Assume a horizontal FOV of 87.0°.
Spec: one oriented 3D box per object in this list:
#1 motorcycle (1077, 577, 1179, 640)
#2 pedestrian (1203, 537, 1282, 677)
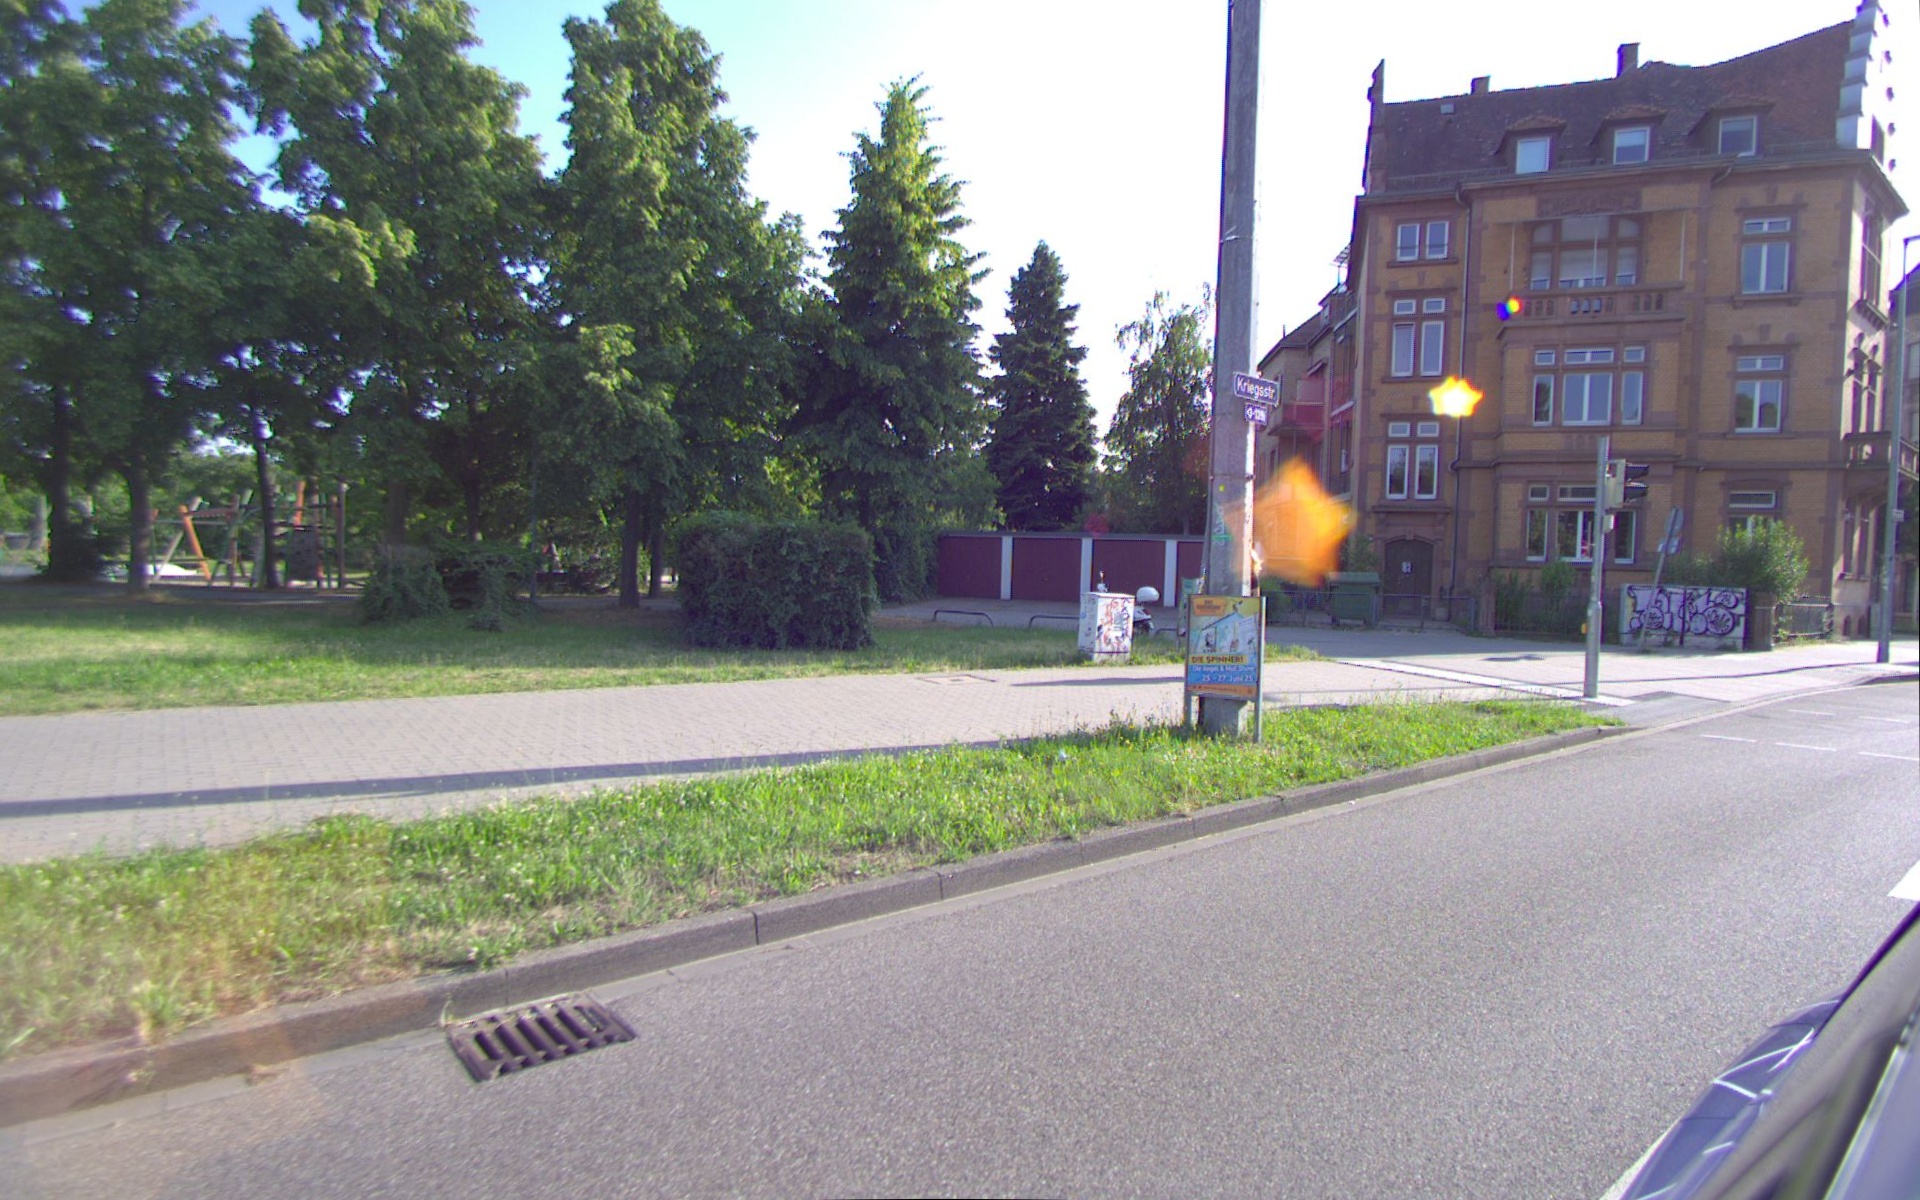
[{"bbox_3d":[3.360,0.145,20.418,0.696,1.174,1.998,1,1,-44],"label":"motorcycle"},{"bbox_3d":[3.639,0.078,13.047,0.538,1.711,0.618,1,6,-35],"label":"pedestrian"}]
